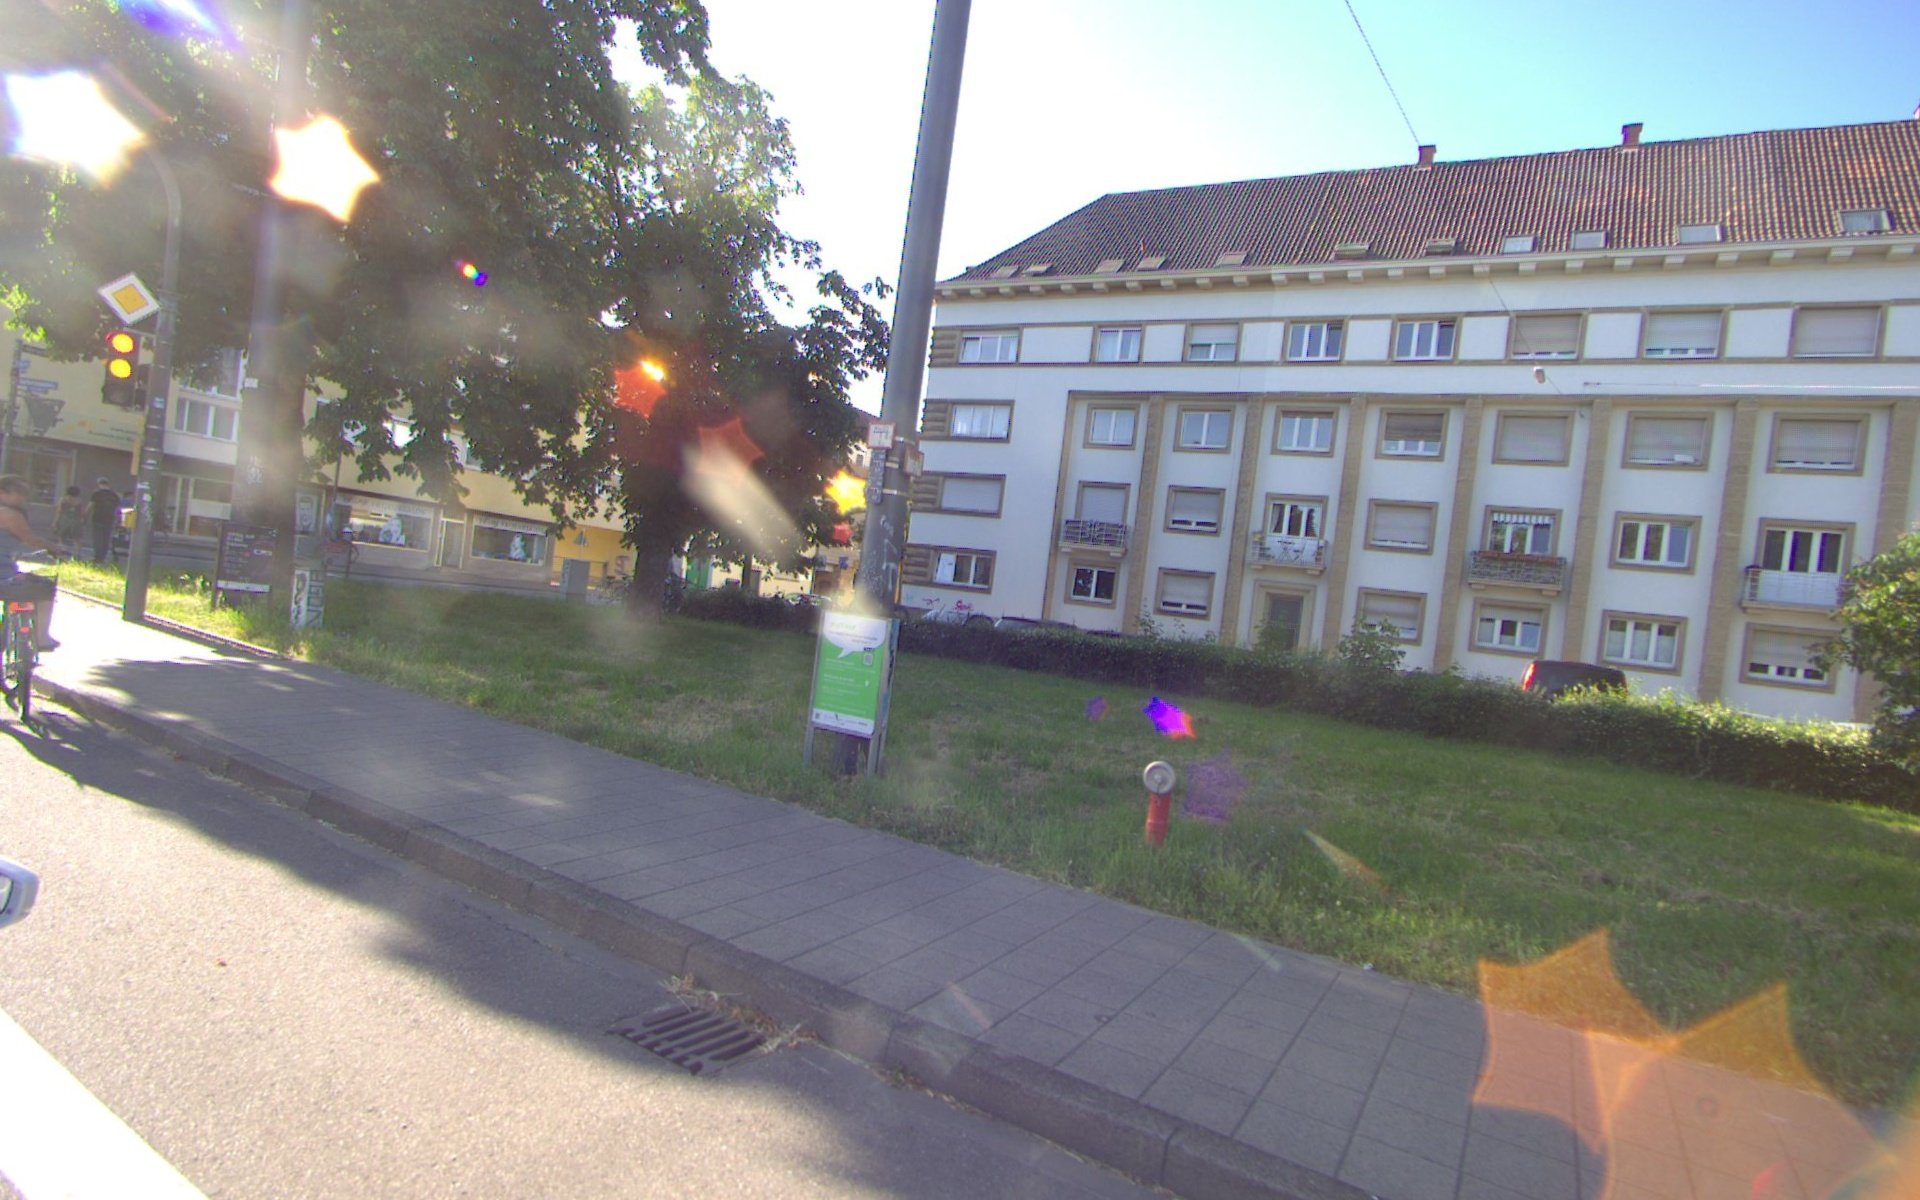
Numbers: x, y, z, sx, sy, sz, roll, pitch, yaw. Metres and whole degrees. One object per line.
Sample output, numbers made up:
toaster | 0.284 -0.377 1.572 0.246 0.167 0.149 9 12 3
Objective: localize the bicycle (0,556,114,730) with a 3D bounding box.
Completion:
bicycle | -6.507 0.235 6.811 1.775 0.983 0.649 7 -2 35

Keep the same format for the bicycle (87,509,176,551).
bicycle | -28.158 -2.375 34.213 2.246 1.000 0.778 9 4 -44

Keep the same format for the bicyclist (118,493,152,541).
bicyclist | -28.075 -2.828 34.224 0.765 1.490 0.887 6 2 -41

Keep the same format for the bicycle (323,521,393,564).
bicycle | -25.878 -2.461 43.298 0.598 1.415 2.477 7 -3 30

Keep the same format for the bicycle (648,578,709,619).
bicycle | -9.042 -0.069 32.286 1.973 1.046 0.598 7 -2 31

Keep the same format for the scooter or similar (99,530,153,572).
scooter or similar | -17.353 -1.019 20.945 0.670 0.746 0.599 7 -2 31

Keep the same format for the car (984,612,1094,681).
car | 2.154 1.268 26.709 1.549 1.547 3.254 7 0 30

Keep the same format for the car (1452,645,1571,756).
car | 11.370 2.105 20.609 1.739 1.813 3.996 7 -3 32

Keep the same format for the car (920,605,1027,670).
car | 0.447 1.117 28.719 1.549 1.547 3.254 7 0 30

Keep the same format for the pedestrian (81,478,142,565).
pedestrian | -17.816 -1.642 21.126 0.525 1.701 0.729 7 -2 44

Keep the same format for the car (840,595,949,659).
car | -1.871 0.834 29.709 1.549 1.547 3.254 7 0 30

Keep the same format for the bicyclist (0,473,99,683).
bicyclist | -6.507 -0.171 6.854 0.790 1.338 0.639 7 -2 34

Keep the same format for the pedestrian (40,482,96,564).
pedestrian | -18.114 -1.567 20.425 0.489 1.539 0.646 7 -2 44

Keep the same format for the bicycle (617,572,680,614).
bicycle | -9.677 -0.234 31.192 1.957 1.046 0.598 7 -2 31

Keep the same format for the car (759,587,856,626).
car | -8.870 0.393 58.738 5.062 1.513 2.208 8 1 -35

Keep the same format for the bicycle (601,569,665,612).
bicycle | -9.950 -0.282 30.592 1.973 1.046 0.598 7 -2 31

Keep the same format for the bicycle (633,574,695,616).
bicycle | -9.348 -0.171 31.730 1.973 1.046 0.598 7 -2 31

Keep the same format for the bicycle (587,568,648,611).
bicycle | -10.233 -0.327 30.006 1.766 1.046 0.598 7 -2 31
